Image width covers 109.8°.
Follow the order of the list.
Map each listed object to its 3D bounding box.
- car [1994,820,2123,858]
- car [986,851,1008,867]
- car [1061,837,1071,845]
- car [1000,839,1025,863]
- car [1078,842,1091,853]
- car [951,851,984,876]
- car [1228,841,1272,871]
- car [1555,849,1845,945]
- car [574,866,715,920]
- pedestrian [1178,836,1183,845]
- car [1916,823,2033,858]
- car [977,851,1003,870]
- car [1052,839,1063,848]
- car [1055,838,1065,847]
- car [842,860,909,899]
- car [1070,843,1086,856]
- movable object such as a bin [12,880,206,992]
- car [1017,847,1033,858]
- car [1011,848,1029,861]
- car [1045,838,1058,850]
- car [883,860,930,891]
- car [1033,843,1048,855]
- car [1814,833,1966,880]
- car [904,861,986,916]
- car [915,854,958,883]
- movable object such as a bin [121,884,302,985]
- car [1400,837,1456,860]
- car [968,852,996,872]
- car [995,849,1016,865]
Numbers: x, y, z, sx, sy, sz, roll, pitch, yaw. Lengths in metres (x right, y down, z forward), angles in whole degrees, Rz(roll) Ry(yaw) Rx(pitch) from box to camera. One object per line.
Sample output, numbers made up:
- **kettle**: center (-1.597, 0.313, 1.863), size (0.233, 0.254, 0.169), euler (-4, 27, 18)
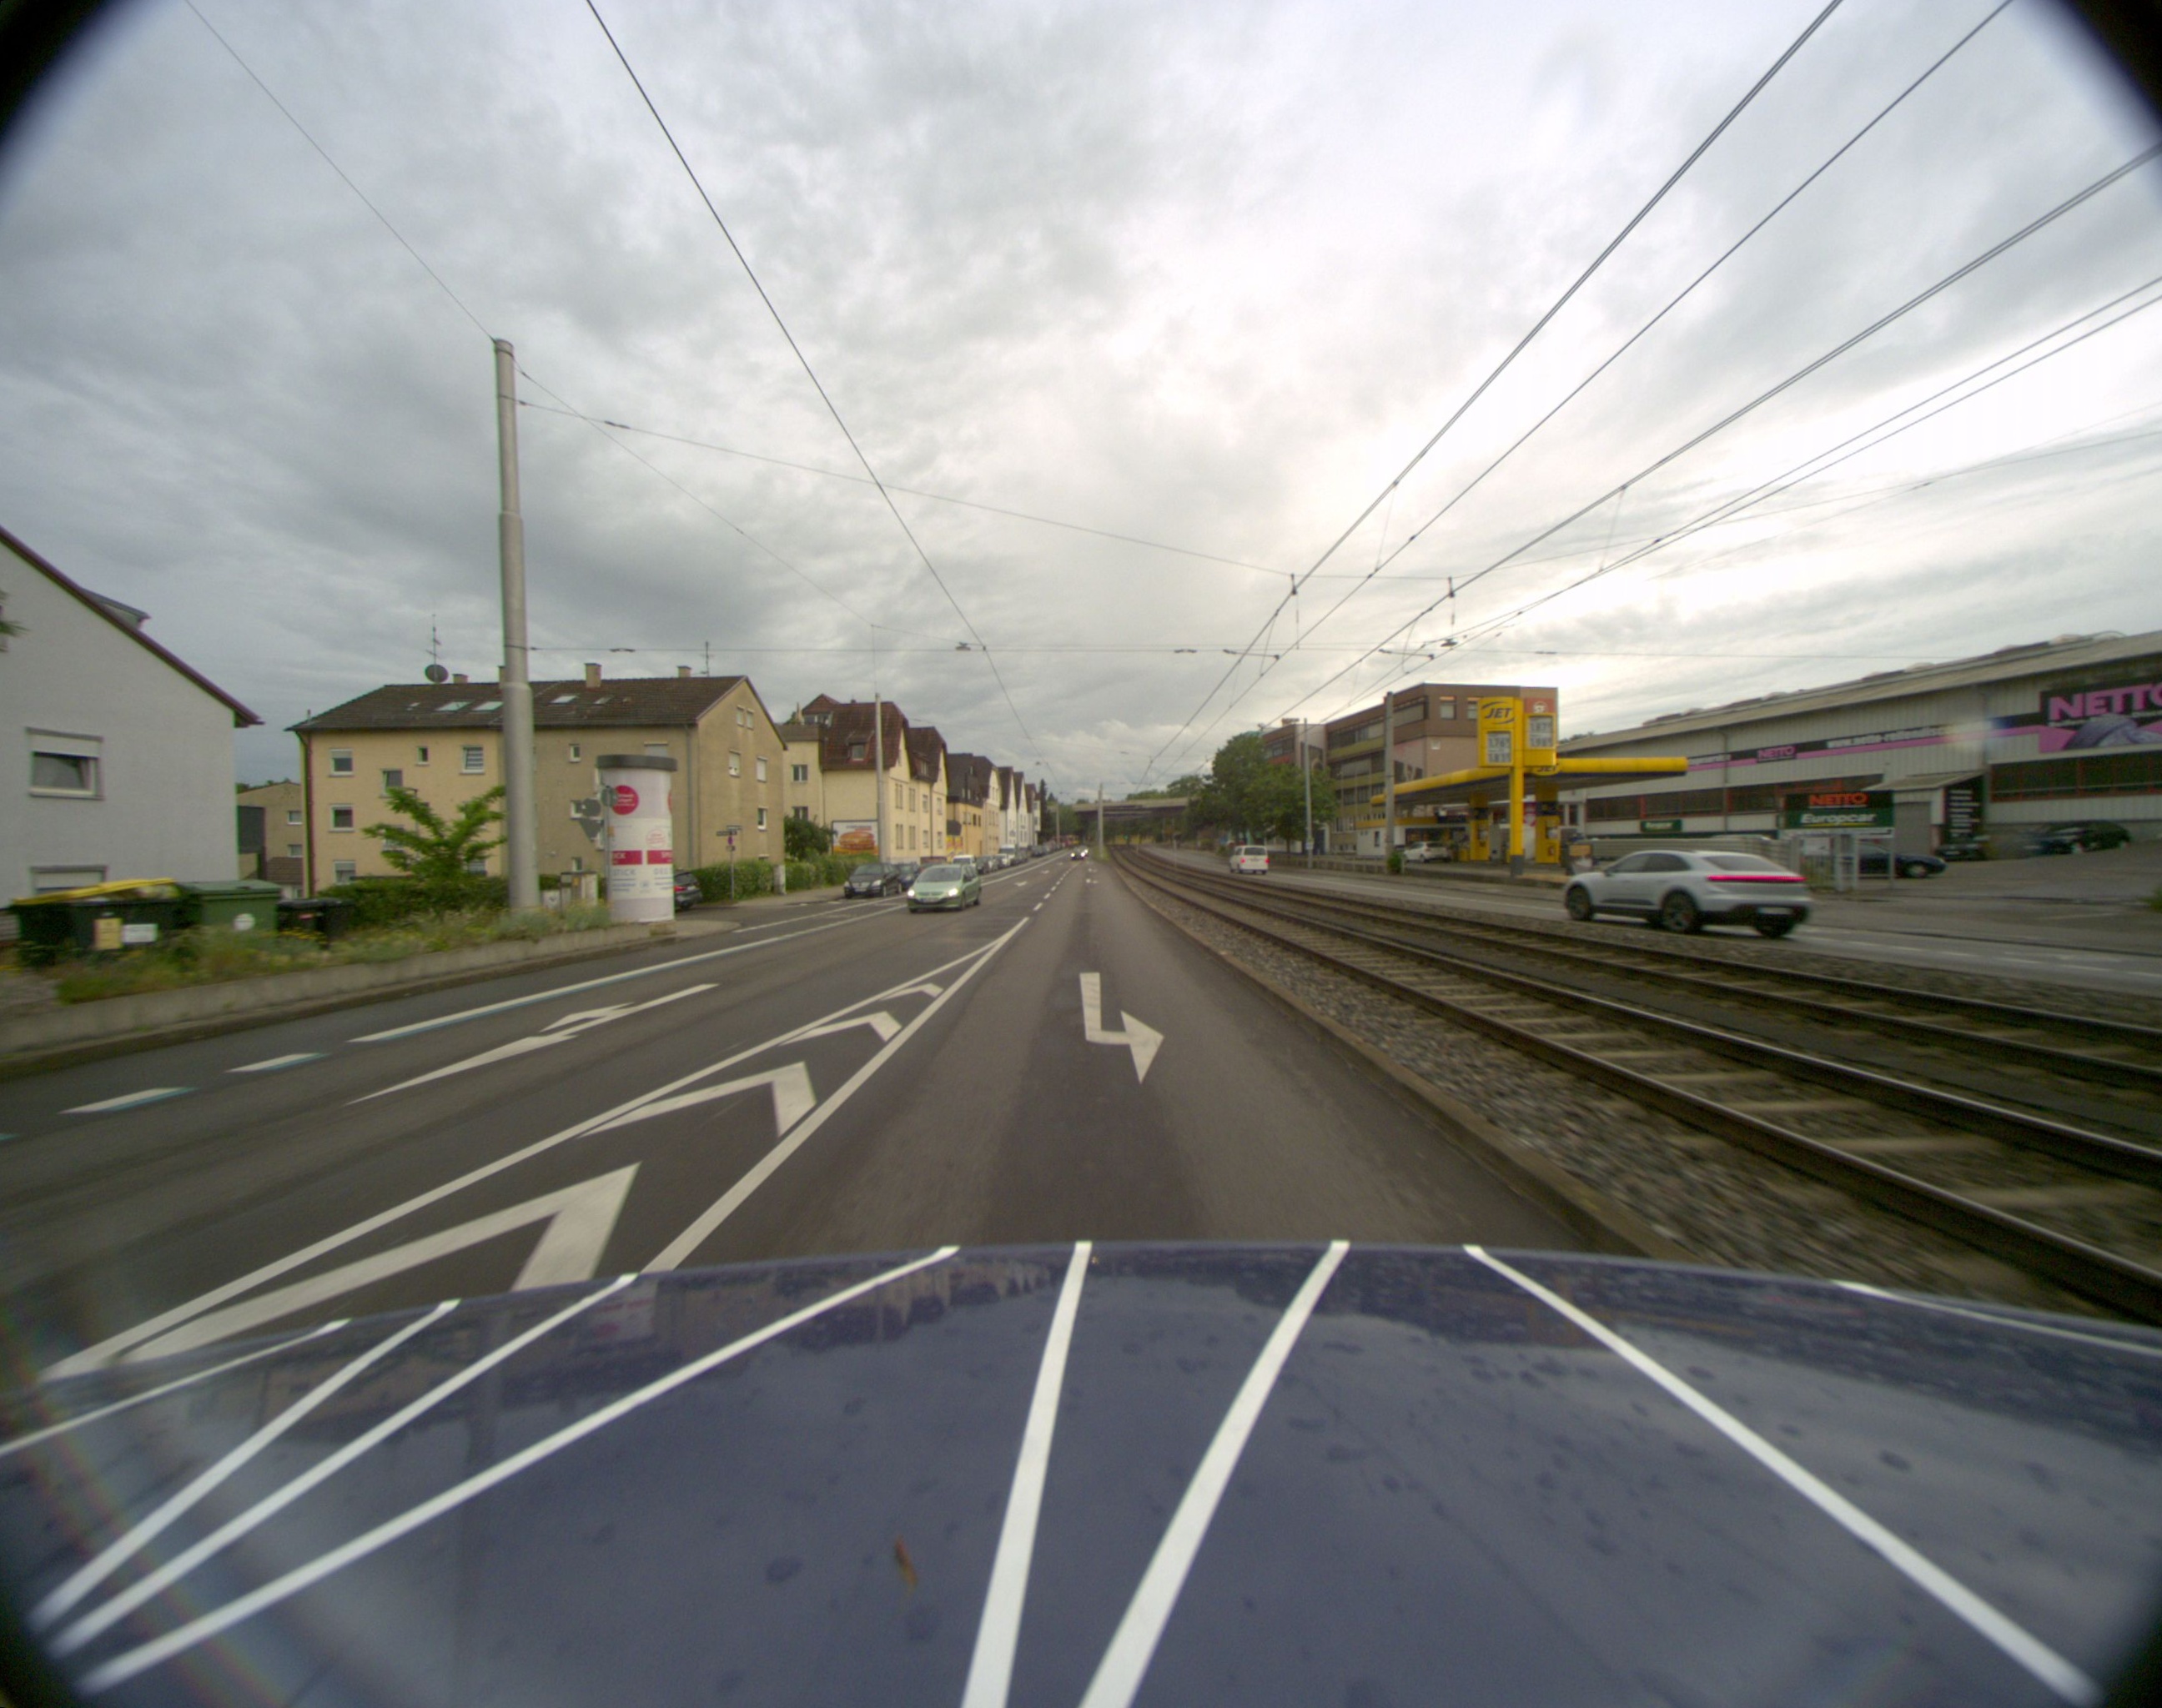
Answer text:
- **car**: center (44.449, -0.663, 34.590), size (4.100, 1.640, 1.850), euler (1, 0, -9)
- **car**: center (-8.336, 0.469, 75.656), size (1.605, 1.394, 3.791), euler (-2, 1, 2)
- **car**: center (-3.213, -2.716, 161.658), size (1.726, 1.539, 4.200), euler (-2, 2, 3)
- **car**: center (-7.764, -0.402, 86.136), size (2.045, 2.485, 5.919), euler (-2, 2, 1)
- **car**: center (0.514, -1.032, 111.926), size (1.888, 1.417, 4.199), euler (-2, 2, 0)
- **car**: center (-8.816, 0.669, 59.222), size (1.852, 1.746, 4.520), euler (-2, 1, -1)
- **car**: center (11.866, 0.134, 53.661), size (1.998, 2.002, 5.060), euler (1, 0, 1)
- **car**: center (12.176, 0.737, 15.507), size (1.999, 1.640, 4.759), euler (1, 0, 0)
- **car**: center (-16.754, 1.469, 29.289), size (4.283, 1.646, 1.879), euler (-4, 2, 4)
- **pedestrian**: center (19.379, -2.677, 148.263), size (0.747, 1.636, 1.021), euler (-1, 2, 2)
- **car**: center (44.006, -0.645, 37.453), size (4.100, 1.640, 1.850), euler (1, 0, -9)
- **car**: center (-8.375, 0.592, 70.352), size (1.705, 1.557, 4.281), euler (-2, 2, 2)
- **car**: center (-4.455, -1.979, 145.670), size (1.726, 1.539, 4.200), euler (-2, 2, 3)
- **car**: center (-4.139, -2.322, 150.179), size (1.726, 1.539, 4.200), euler (-2, 2, 3)
- **car**: center (-9.502, 1.144, 35.452), size (1.841, 1.525, 4.438), euler (-2, 1, 0)
- **car**: center (-0.363, -0.577, 97.777), size (1.887, 1.417, 4.200), euler (-2, 2, 2)
- **movable object such as a bin**: center (-13.966, 1.146, 10.978), size (1.187, 1.410, 1.134), euler (-3, 2, -2)
- **car**: center (-7.304, -0.206, 99.482), size (1.726, 1.338, 4.199), euler (-2, 2, 0)
- **car**: center (-7.447, 0.026, 92.984), size (1.726, 1.338, 4.083), euler (-2, 2, 0)
- **car**: center (-5.162, -1.834, 134.101), size (1.977, 1.984, 4.434), euler (-2, 2, 2)
- **car**: center (-9.506, 1.124, 41.701), size (1.671, 1.435, 3.928), euler (-2, 1, -1)
- **car**: center (-6.235, -0.800, 117.806), size (1.726, 1.539, 4.200), euler (-2, 2, 3)
- **car**: center (29.675, 0.098, 28.027), size (3.591, 1.580, 1.706), euler (-1, 3, 37)
- **car**: center (-4.451, 1.079, 25.452), size (1.888, 1.441, 4.199), euler (-2, 2, 0)
- **car**: center (-9.312, 0.917, 49.301), size (1.841, 1.619, 4.098), euler (-2, 1, 1)
- **movable object such as a bin**: center (-14.054, 1.268, 12.356), size (1.314, 1.410, 1.299), euler (-3, 2, -2)
- **car**: center (23.429, -0.388, 51.429), size (1.775, 1.408, 4.073), euler (-3, 2, -2)
- **car**: center (-8.432, 0.696, 64.923), size (1.690, 1.503, 4.136), euler (-2, 1, 2)
- **car**: center (-7.965, 0.318, 80.462), size (1.605, 1.456, 4.200), euler (-2, 1, 2)
